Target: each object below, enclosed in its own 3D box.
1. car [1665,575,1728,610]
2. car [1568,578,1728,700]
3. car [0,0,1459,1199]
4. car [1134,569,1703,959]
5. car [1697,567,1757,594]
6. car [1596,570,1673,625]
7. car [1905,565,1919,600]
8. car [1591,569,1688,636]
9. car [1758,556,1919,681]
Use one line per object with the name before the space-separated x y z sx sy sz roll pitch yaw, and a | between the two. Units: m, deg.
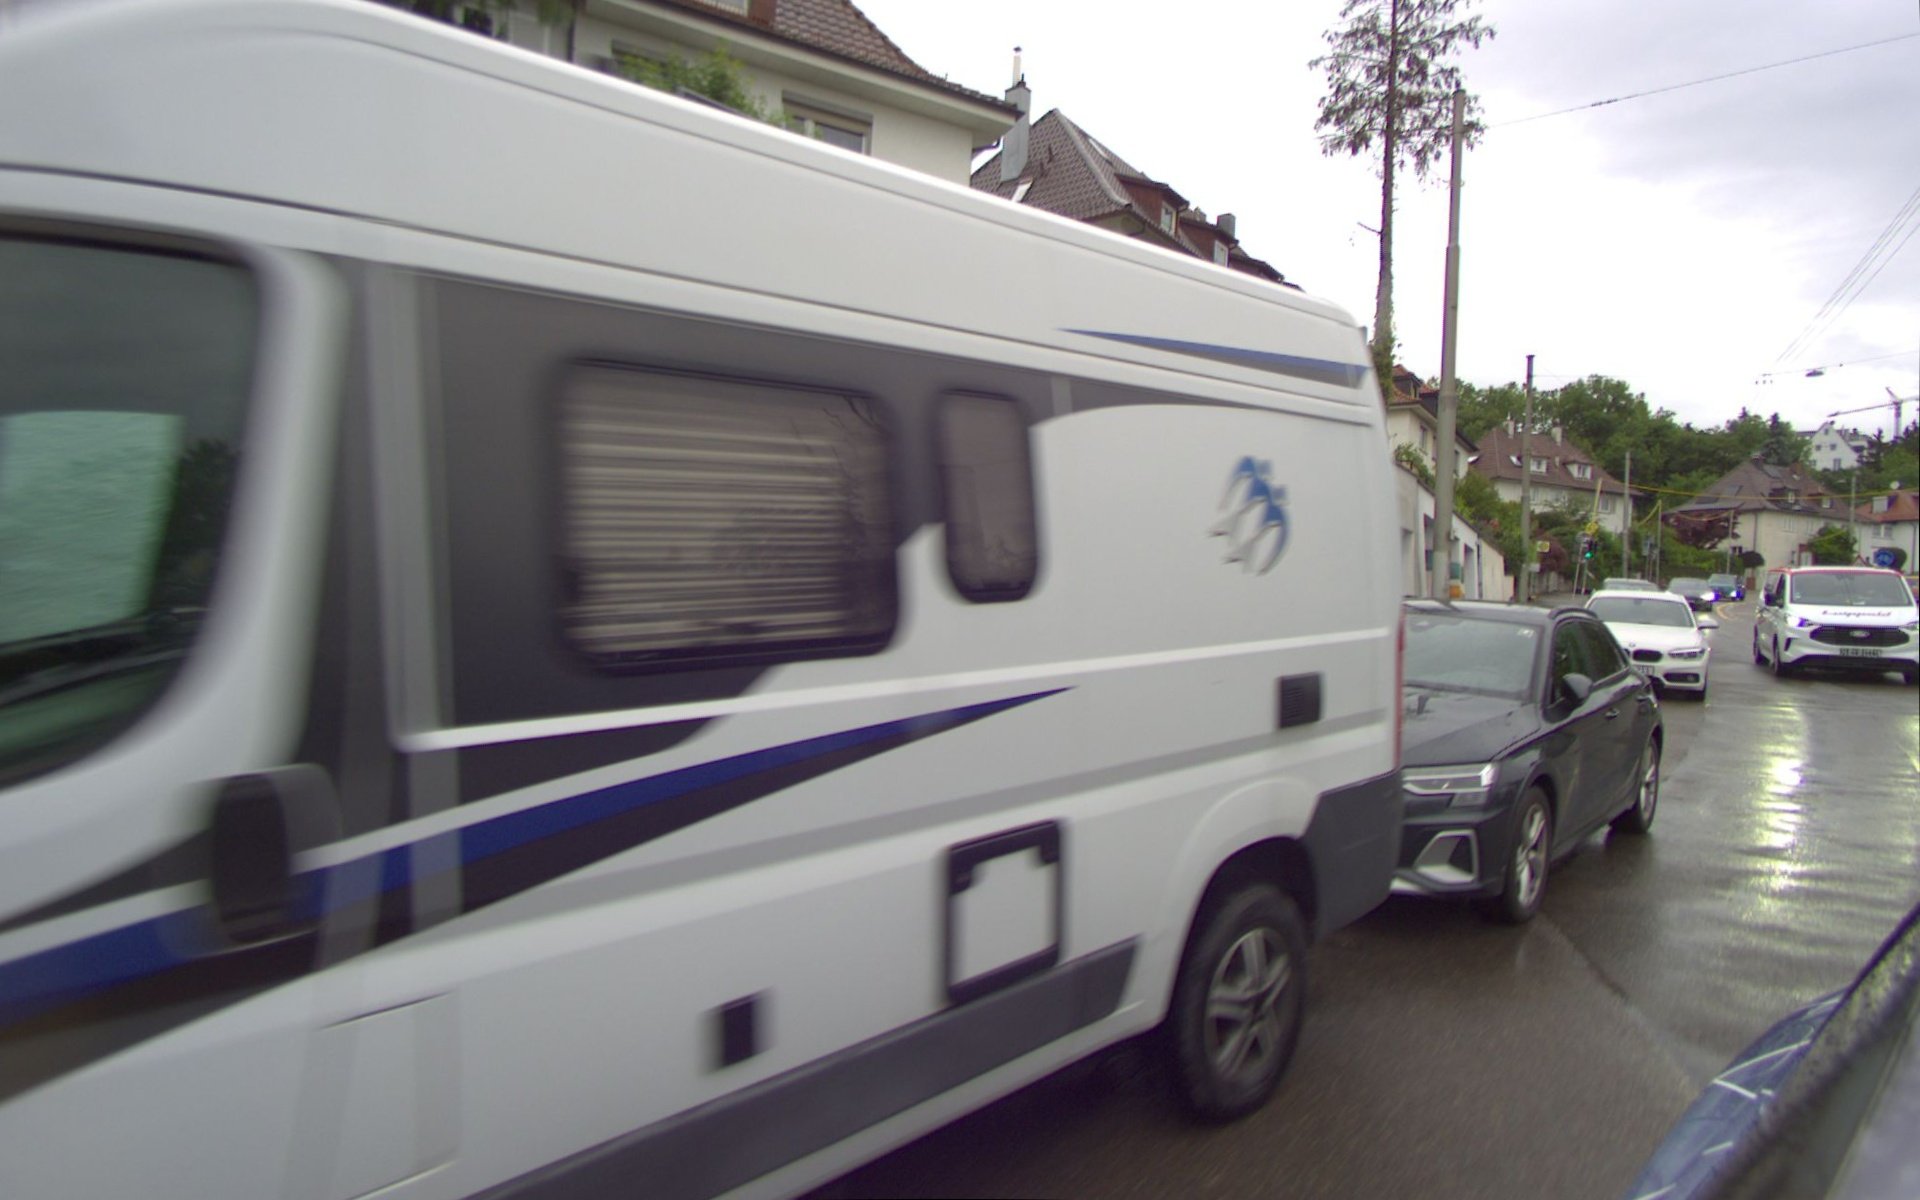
car | 34.561 -0.382 47.427 1.982 1.453 4.449 3 4 41
car | 10.278 0.460 15.198 1.700 1.431 3.993 4 4 34
car | -1.104 0.131 2.508 5.521 2.573 2.104 -1 3 -40
car | 3.006 0.634 6.134 4.115 1.514 1.755 0 3 -45
car | 46.756 -1.207 61.669 4.437 1.453 1.988 -3 5 -40
car | 20.727 -0.142 31.236 1.774 1.437 4.381 5 5 32
car | 56.987 -0.994 59.141 4.495 1.950 1.809 -2 6 -39
car | 17.940 -0.002 26.861 1.705 1.531 3.960 4 4 29
car | 15.956 0.221 18.223 2.029 1.963 4.462 2 3 33
